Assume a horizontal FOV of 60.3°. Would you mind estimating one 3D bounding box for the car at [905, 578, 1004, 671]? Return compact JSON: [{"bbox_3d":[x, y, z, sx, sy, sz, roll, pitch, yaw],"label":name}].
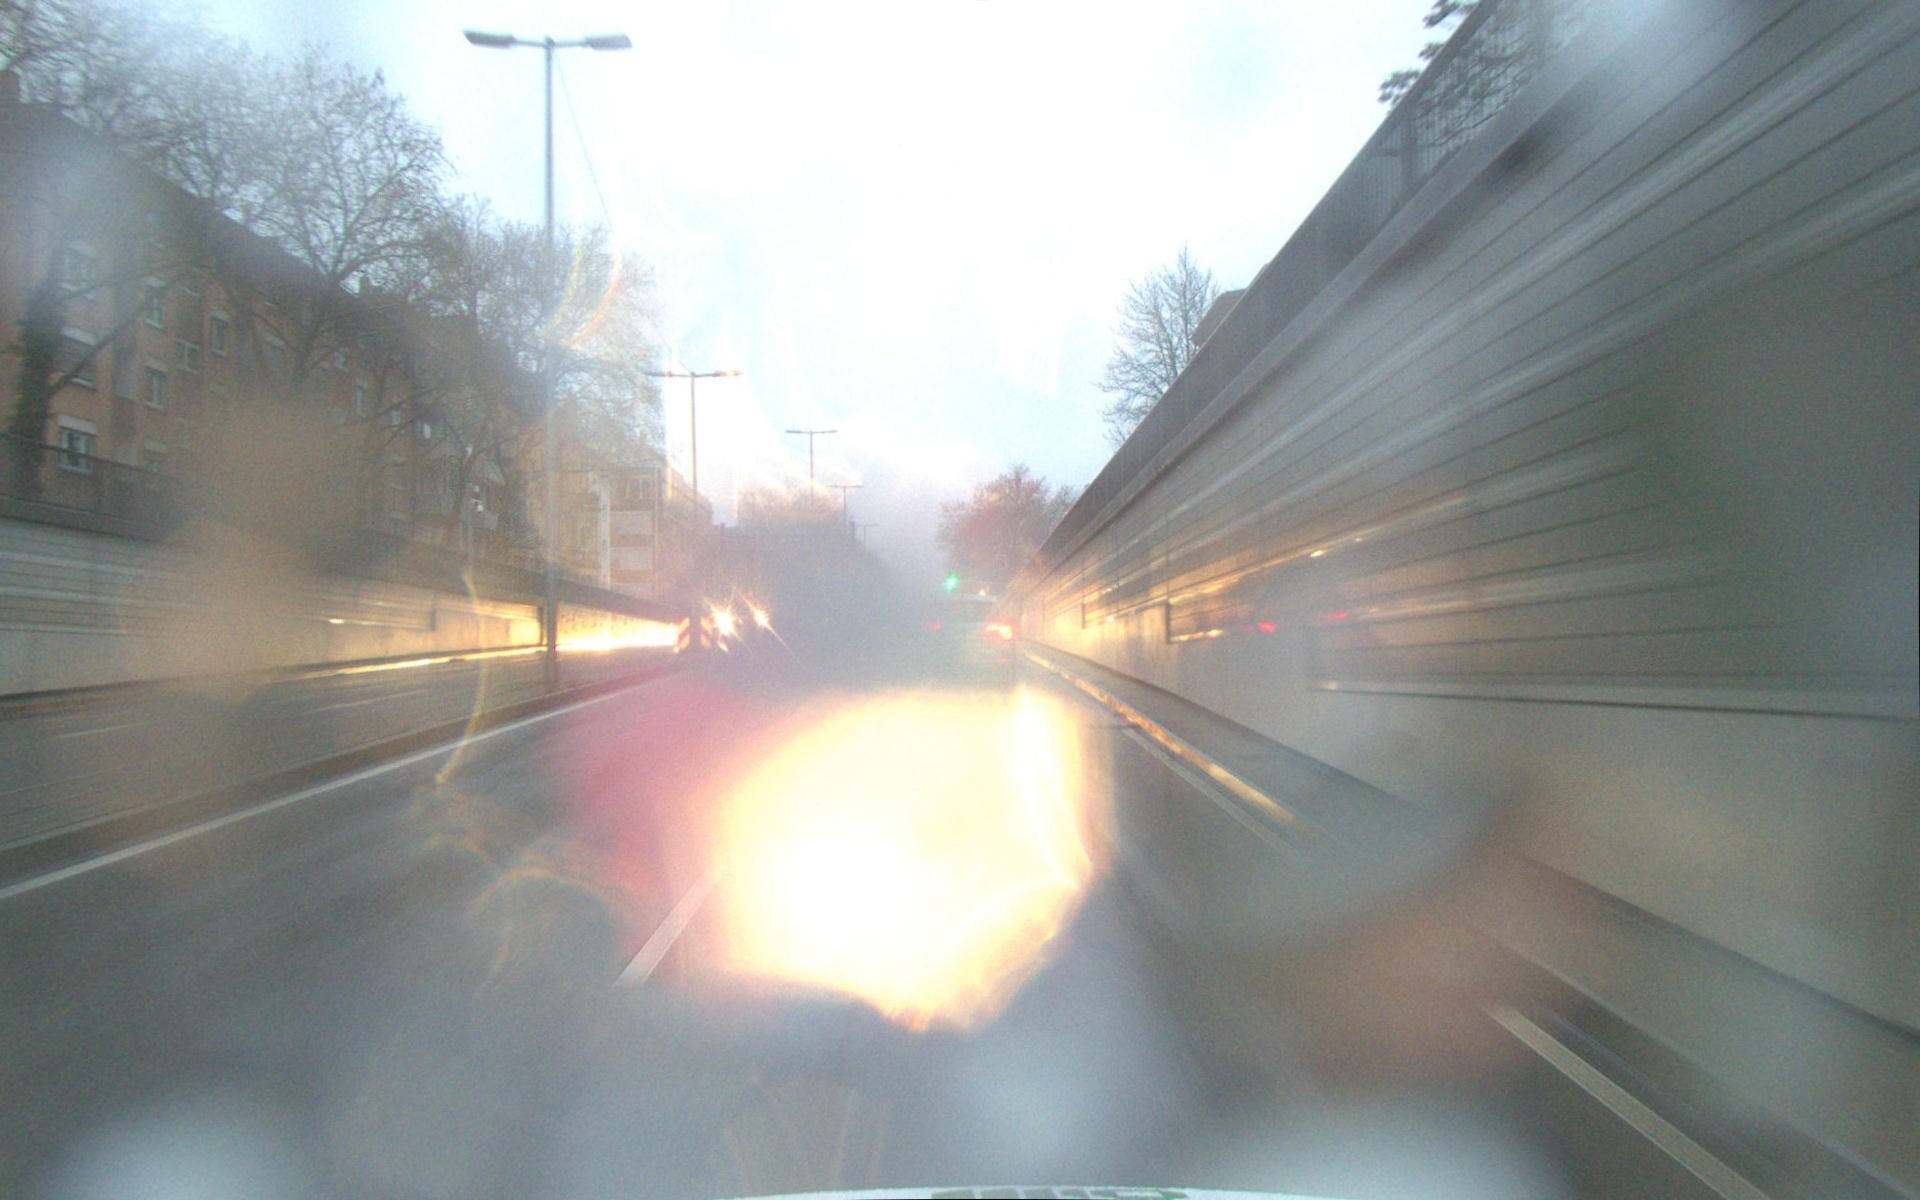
[{"bbox_3d":[-0.107,0.418,26.962,1.500,1.422,3.433,0,-2,-1],"label":"car"}]
